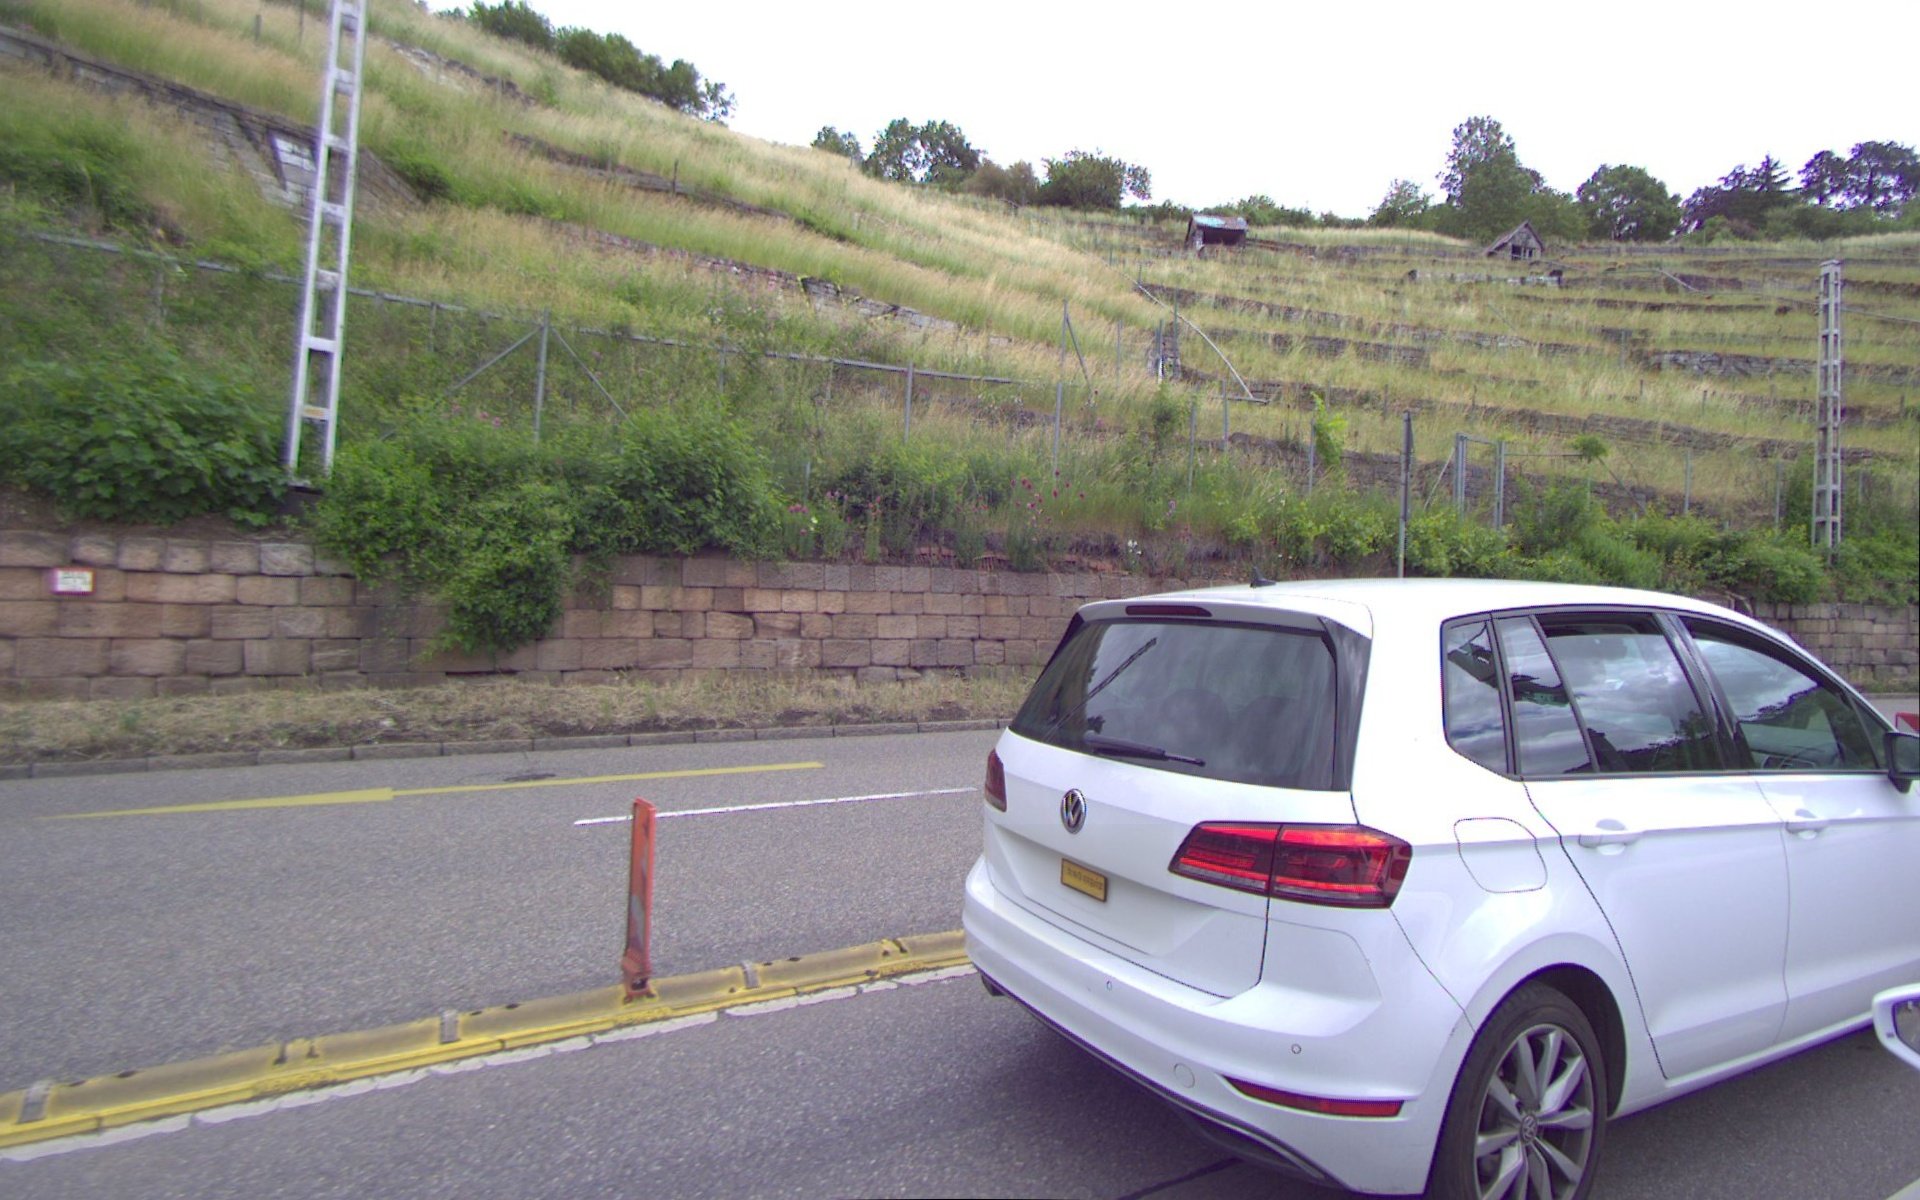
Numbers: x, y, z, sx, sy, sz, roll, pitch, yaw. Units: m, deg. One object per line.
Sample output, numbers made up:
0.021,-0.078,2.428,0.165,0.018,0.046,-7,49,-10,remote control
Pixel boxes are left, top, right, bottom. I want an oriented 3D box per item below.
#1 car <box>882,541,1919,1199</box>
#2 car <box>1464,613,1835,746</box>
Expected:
2.056,0.727,3.602,4.302,1.601,1.813,1,0,-28,car
8.863,0.939,12.914,4.351,1.432,1.847,1,1,-22,car
